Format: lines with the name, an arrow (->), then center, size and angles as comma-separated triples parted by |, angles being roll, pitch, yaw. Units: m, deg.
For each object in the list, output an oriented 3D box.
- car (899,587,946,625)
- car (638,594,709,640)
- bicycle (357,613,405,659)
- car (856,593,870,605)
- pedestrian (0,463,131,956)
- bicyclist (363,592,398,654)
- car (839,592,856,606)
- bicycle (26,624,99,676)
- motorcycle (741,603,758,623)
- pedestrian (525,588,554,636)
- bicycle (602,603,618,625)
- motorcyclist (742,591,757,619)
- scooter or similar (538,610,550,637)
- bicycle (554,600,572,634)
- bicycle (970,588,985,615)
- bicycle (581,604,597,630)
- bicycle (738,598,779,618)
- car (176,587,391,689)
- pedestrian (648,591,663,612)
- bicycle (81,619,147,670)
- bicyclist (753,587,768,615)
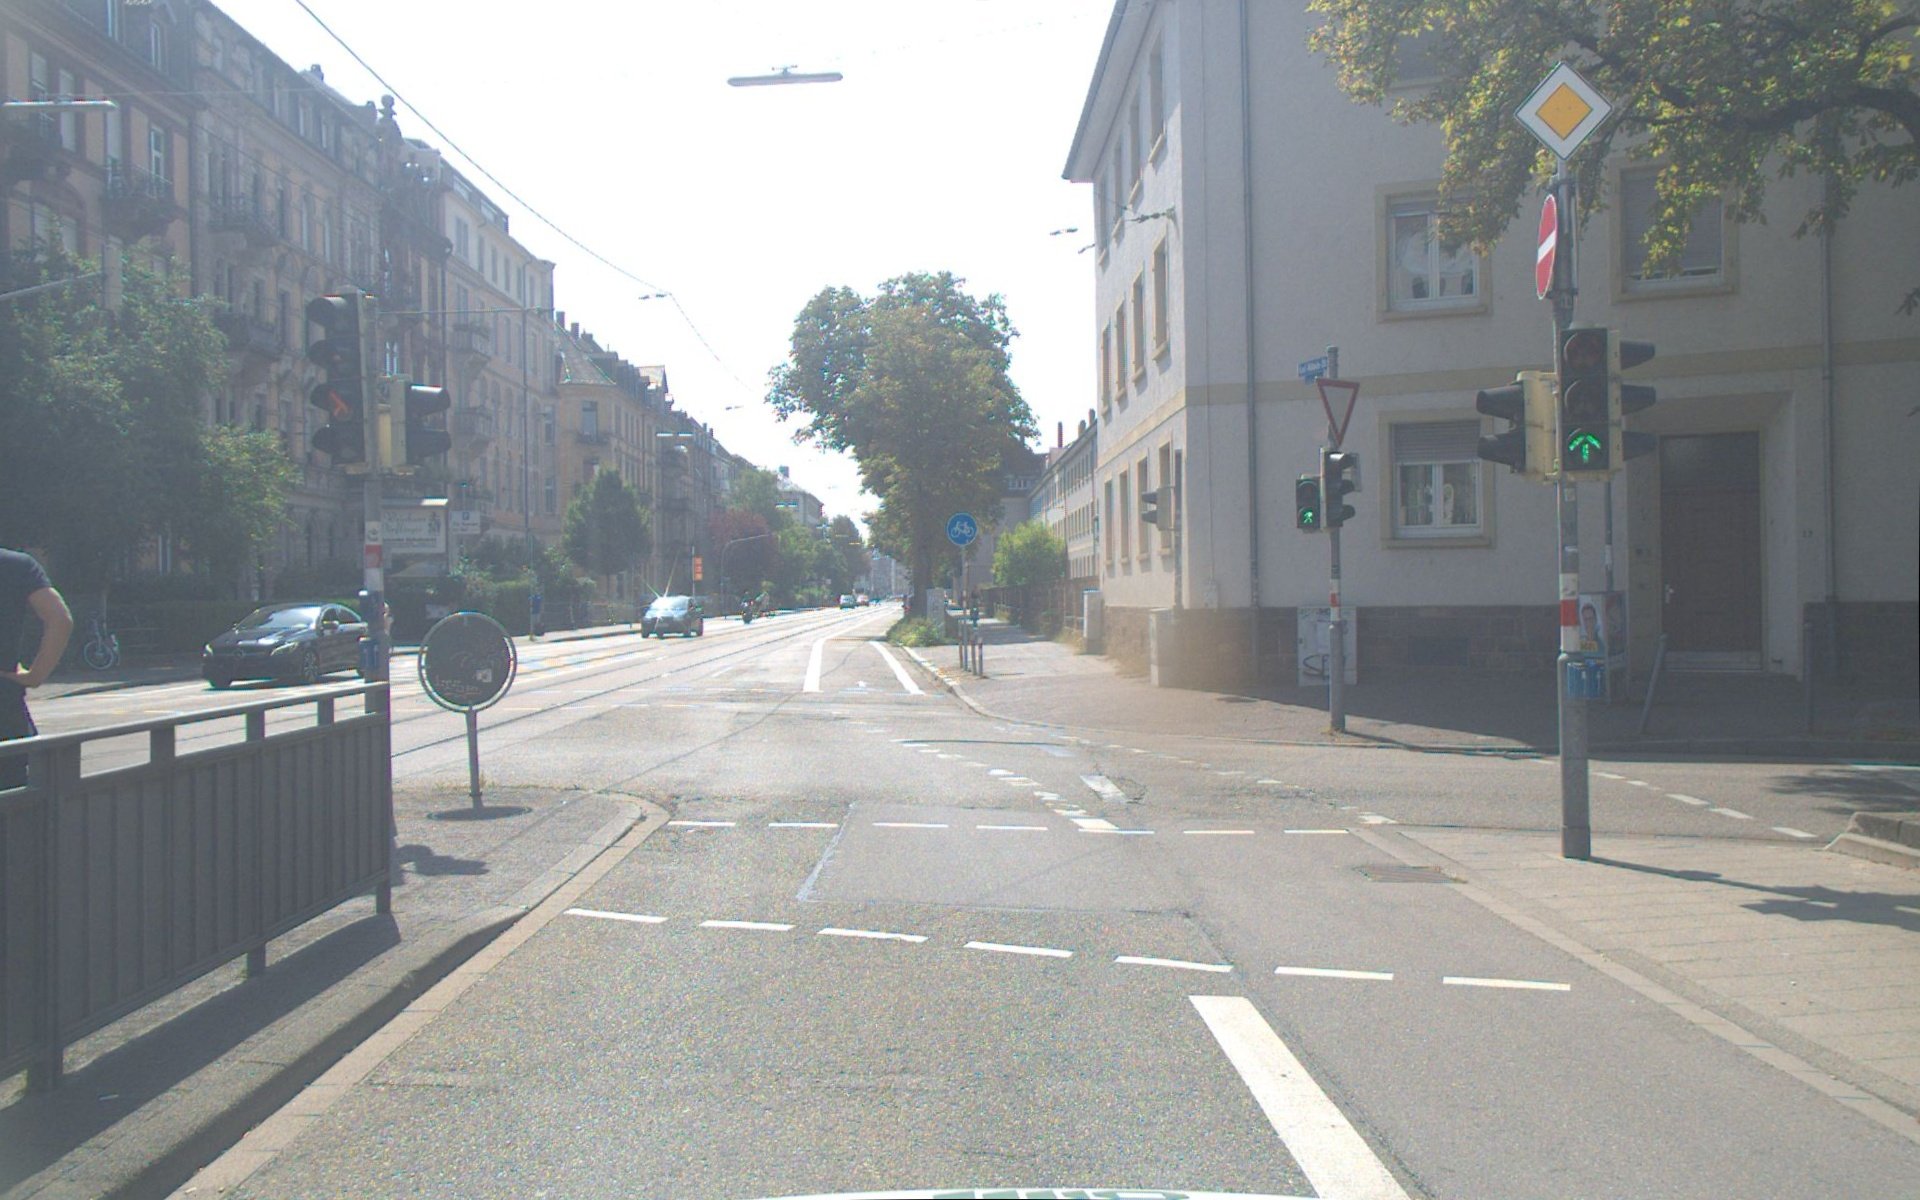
car -> -1.587, 0.253, 71.237 | 1.583, 1.557, 3.501 | -2, 0, 5
car -> -10.565, 0.602, 61.236 | 1.691, 1.458, 4.179 | 4, 1, 2
bicycle -> -14.213, 0.868, 40.640 | 0.569, 1.085, 1.843 | -1, 0, -1
car -> -13.272, -0.166, 226.348 | 1.697, 1.516, 3.999 | -1, 0, -2
pedestrian -> -3.939, 0.427, 6.714 | 0.913, 1.918, 0.666 | -1, 0, -37
bicyclist -> -14.219, 0.568, 40.596 | 0.569, 1.496, 0.776 | -1, 0, -1
car -> -13.208, -0.157, 194.053 | 1.790, 1.567, 3.999 | -1, 0, -2
bicycle -> -17.656, 0.966, 32.575 | 0.477, 0.958, 1.657 | -1, 0, 2
motorcycle -> -11.634, 0.716, 91.412 | 0.677, 1.049, 2.157 | -1, 0, 0
pedestrian -> -16.035, 0.447, 63.118 | 0.865, 1.786, 0.870 | -1, 0, -1
bicycle -> -17.279, 0.695, 81.615 | 0.382, 1.056, 1.833 | 0, 0, 0
motorcyclist -> -11.641, 0.252, 91.470 | 0.675, 1.538, 0.773 | -1, 0, 0
scooter or similar -> -15.719, 0.892, 62.510 | 0.392, 0.999, 0.583 | 1, -1, -9
bicycle -> -17.185, 0.717, 71.635 | 0.382, 1.430, 1.581 | 0, 0, 0
bicycle -> 0.713, 0.054, 67.362 | 0.431, 1.065, 1.827 | -1, 0, -4
bicycle -> -17.059, 0.764, 76.106 | 0.382, 1.168, 1.582 | 0, 0, 0
bicycle -> -13.644, 0.541, 111.864 | 2.655, 1.291, 1.148 | -1, 0, -11
car -> -12.266, 0.632, 30.359 | 1.952, 1.676, 4.631 | -2, 0, 1
pedestrian -> -22.363, 0.141, 121.444 | 0.875, 1.537, 0.860 | -1, 0, -32
bicycle -> -17.528, 0.912, 34.296 | 0.477, 1.003, 1.657 | -1, 0, 2
bicyclist -> -13.495, 0.047, 111.911 | 0.935, 1.869, 1.126 | -1, -1, -10
